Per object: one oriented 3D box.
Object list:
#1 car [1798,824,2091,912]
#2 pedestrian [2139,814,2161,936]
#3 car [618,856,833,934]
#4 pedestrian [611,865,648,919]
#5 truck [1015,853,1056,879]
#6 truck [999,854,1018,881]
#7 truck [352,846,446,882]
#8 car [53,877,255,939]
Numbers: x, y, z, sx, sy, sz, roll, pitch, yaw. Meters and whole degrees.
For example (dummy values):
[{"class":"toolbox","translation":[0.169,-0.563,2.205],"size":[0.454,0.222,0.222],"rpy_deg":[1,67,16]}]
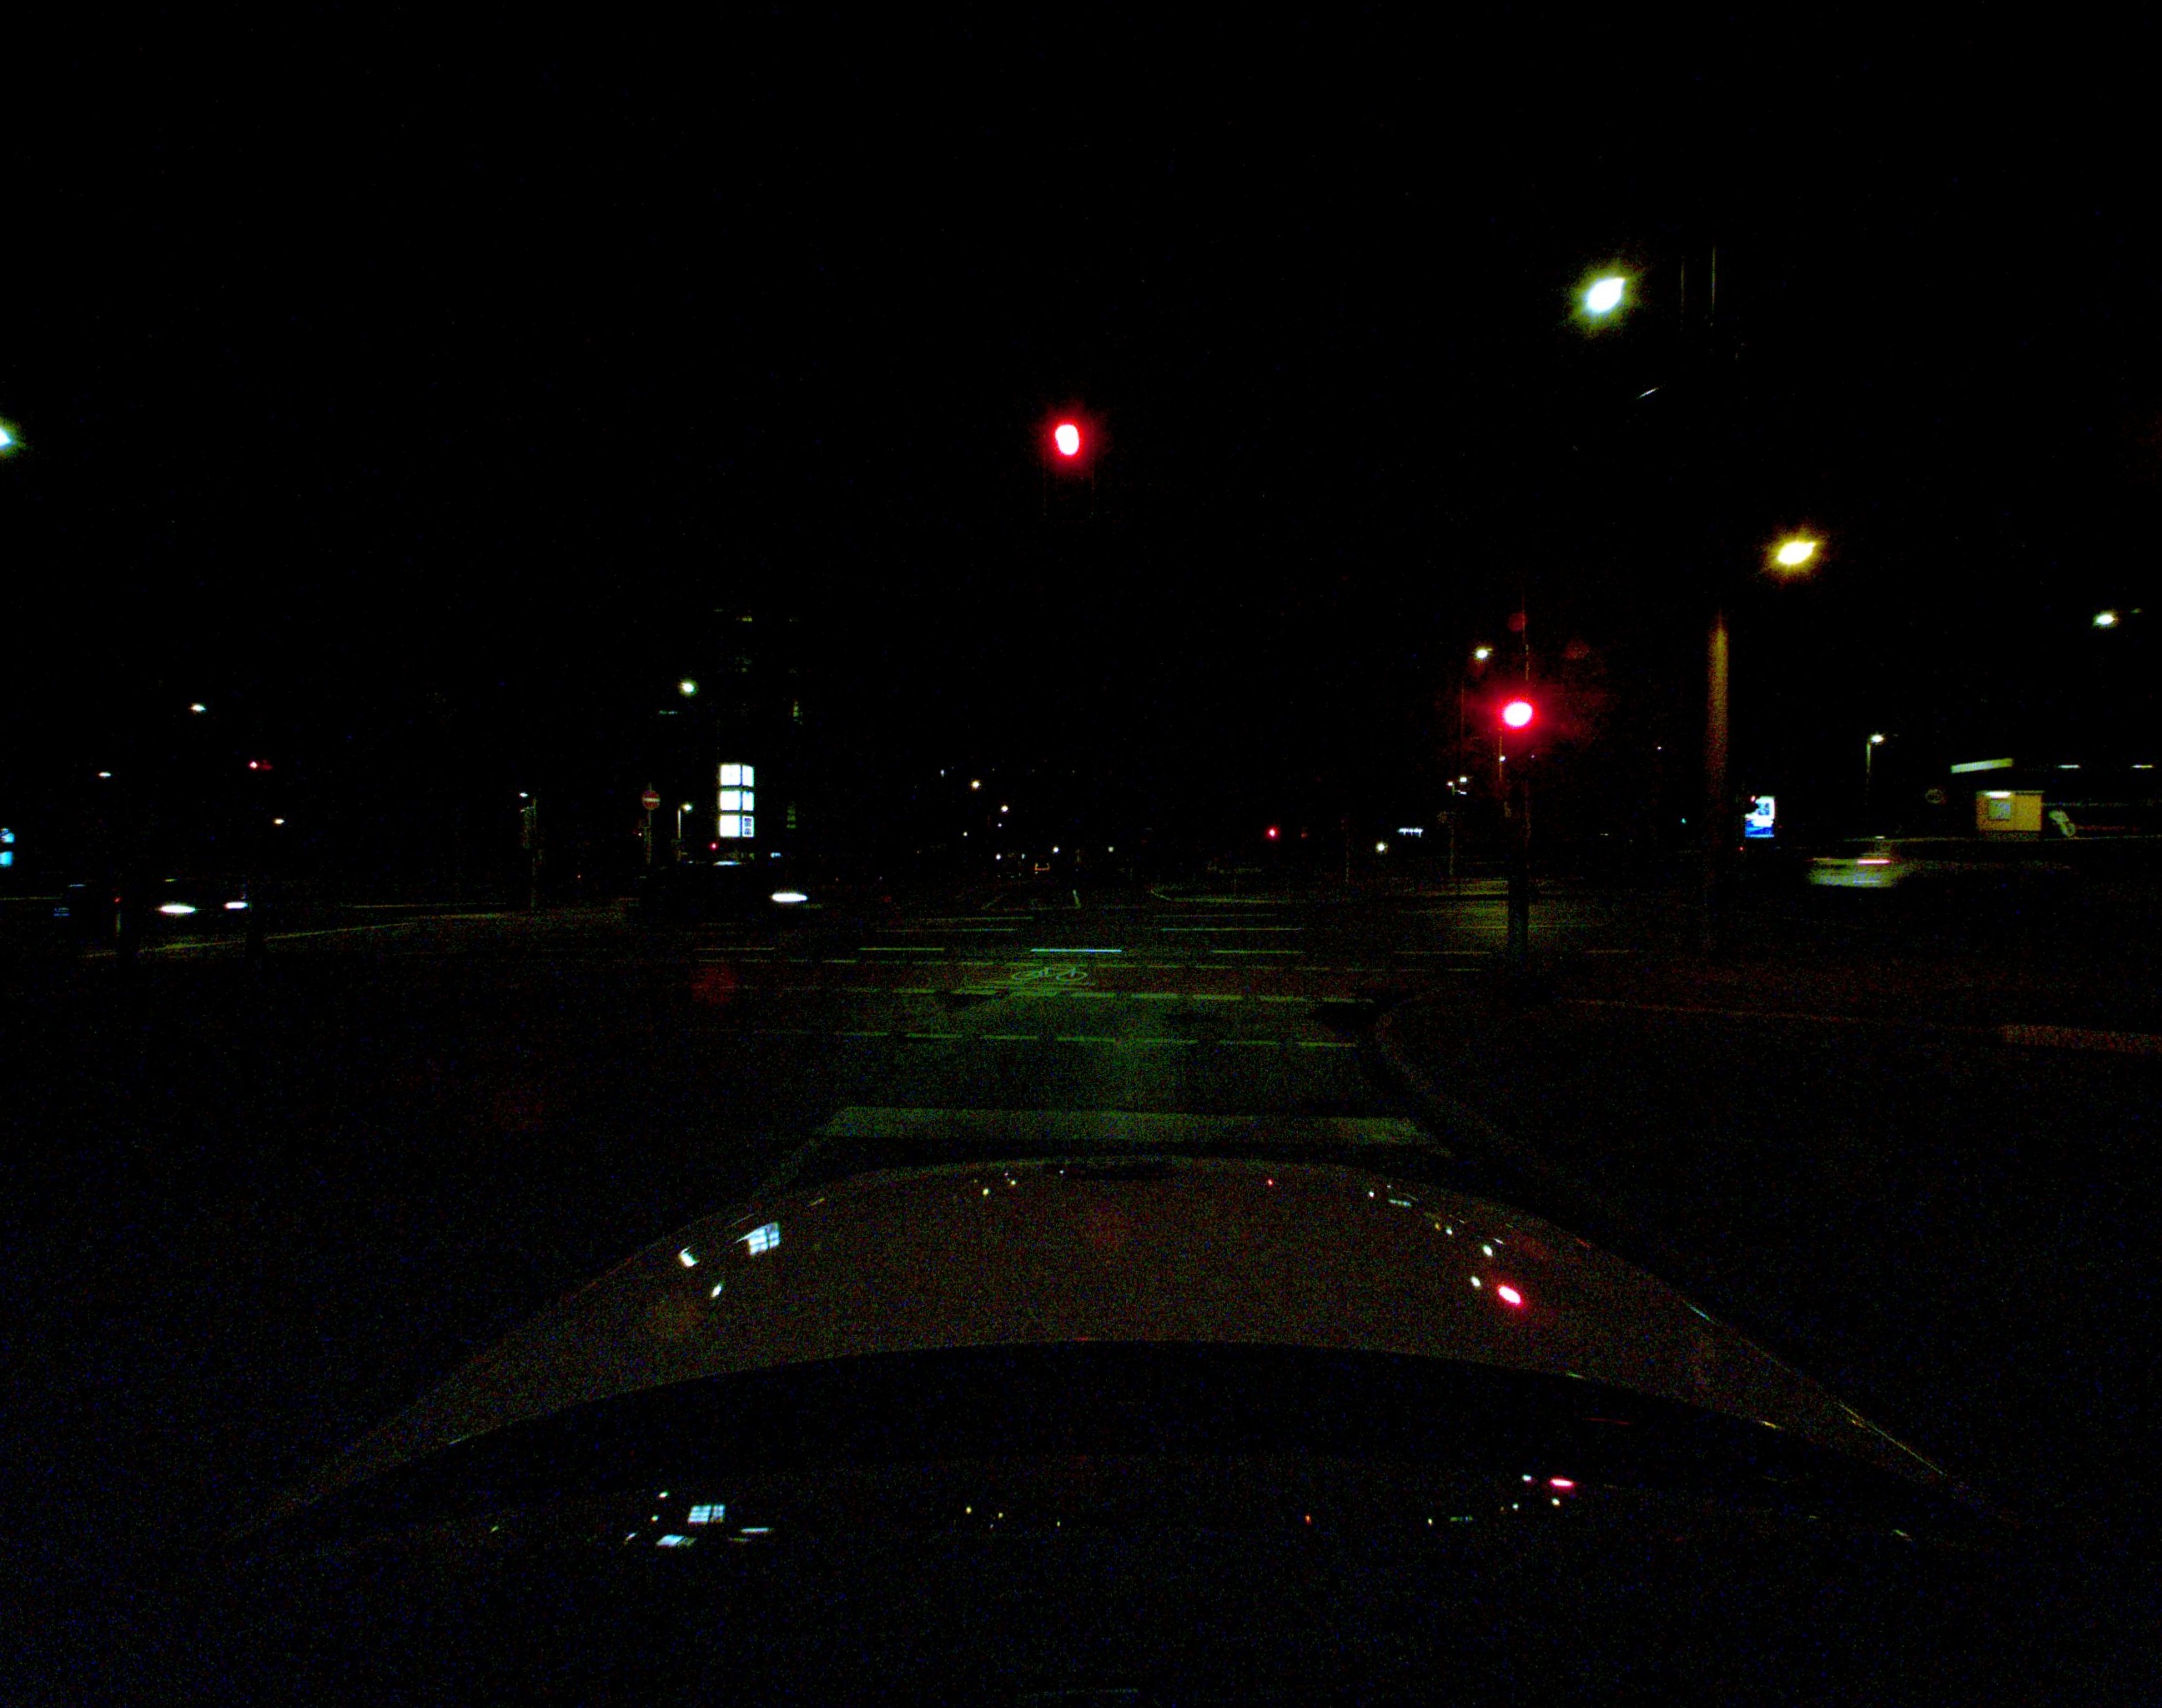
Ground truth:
[{"class":"car","translation":[18.496,0.272,17.610],"size":[4.265,1.683,1.877],"rpy_deg":[-2,1,2]},{"class":"pedestrian","translation":[15.819,0.277,11.414],"size":[0.752,1.745,0.834],"rpy_deg":[-3,-2,1]},{"class":"car","translation":[-8.436,0.946,19.536],"size":[4.323,1.651,1.812],"rpy_deg":[-2,-1,4]},{"class":"pedestrian","translation":[-13.960,1.154,25.207],"size":[0.667,1.634,0.862],"rpy_deg":[0,-1,-3]},{"class":"truck","translation":[-8.548,2.224,151.647],"size":[4.835,4.547,12.591],"rpy_deg":[0,-1,-17]},{"class":"truck","translation":[-10.634,1.957,119.469],"size":[2.580,3.707,5.723],"rpy_deg":[0,-1,-7]},{"class":"truck","translation":[-59.696,0.874,71.379],"size":[5.873,3.088,2.915],"rpy_deg":[0,-1,3]},{"class":"car","translation":[-28.021,1.603,24.688],"size":[4.420,1.659,1.869],"rpy_deg":[-1,1,8]}]
